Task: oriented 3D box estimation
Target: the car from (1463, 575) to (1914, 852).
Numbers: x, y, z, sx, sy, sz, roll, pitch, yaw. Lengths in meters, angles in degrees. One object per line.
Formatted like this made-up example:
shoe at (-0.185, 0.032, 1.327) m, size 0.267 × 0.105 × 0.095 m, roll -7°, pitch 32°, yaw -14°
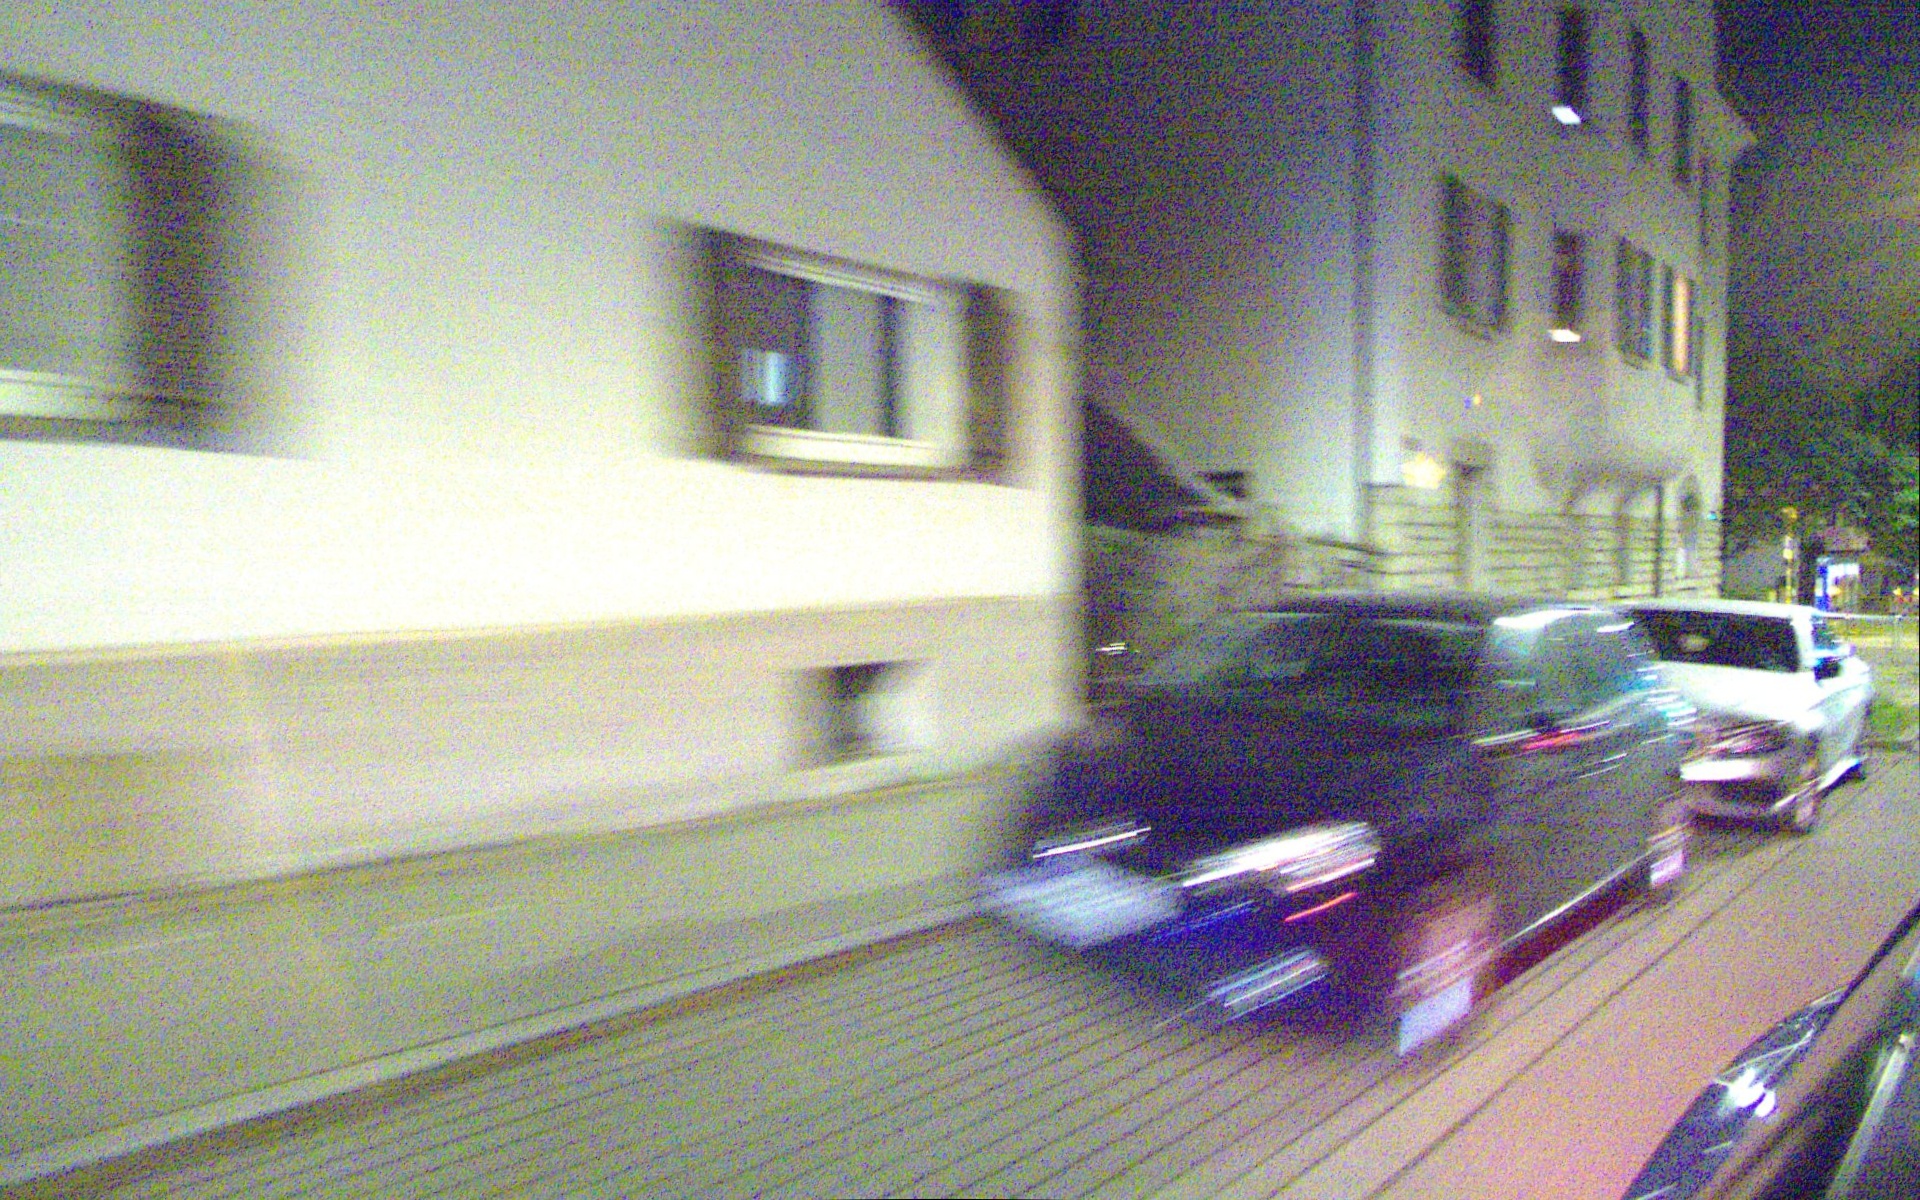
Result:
car at (5.850, 0.587, 7.883) m, size 4.566 × 1.434 × 1.849 m, roll -2°, pitch 5°, yaw -42°

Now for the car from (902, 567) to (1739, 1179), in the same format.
car at (1.841, 0.615, 4.431) m, size 3.950 × 1.466 × 1.774 m, roll -1°, pitch 3°, yaw -42°
